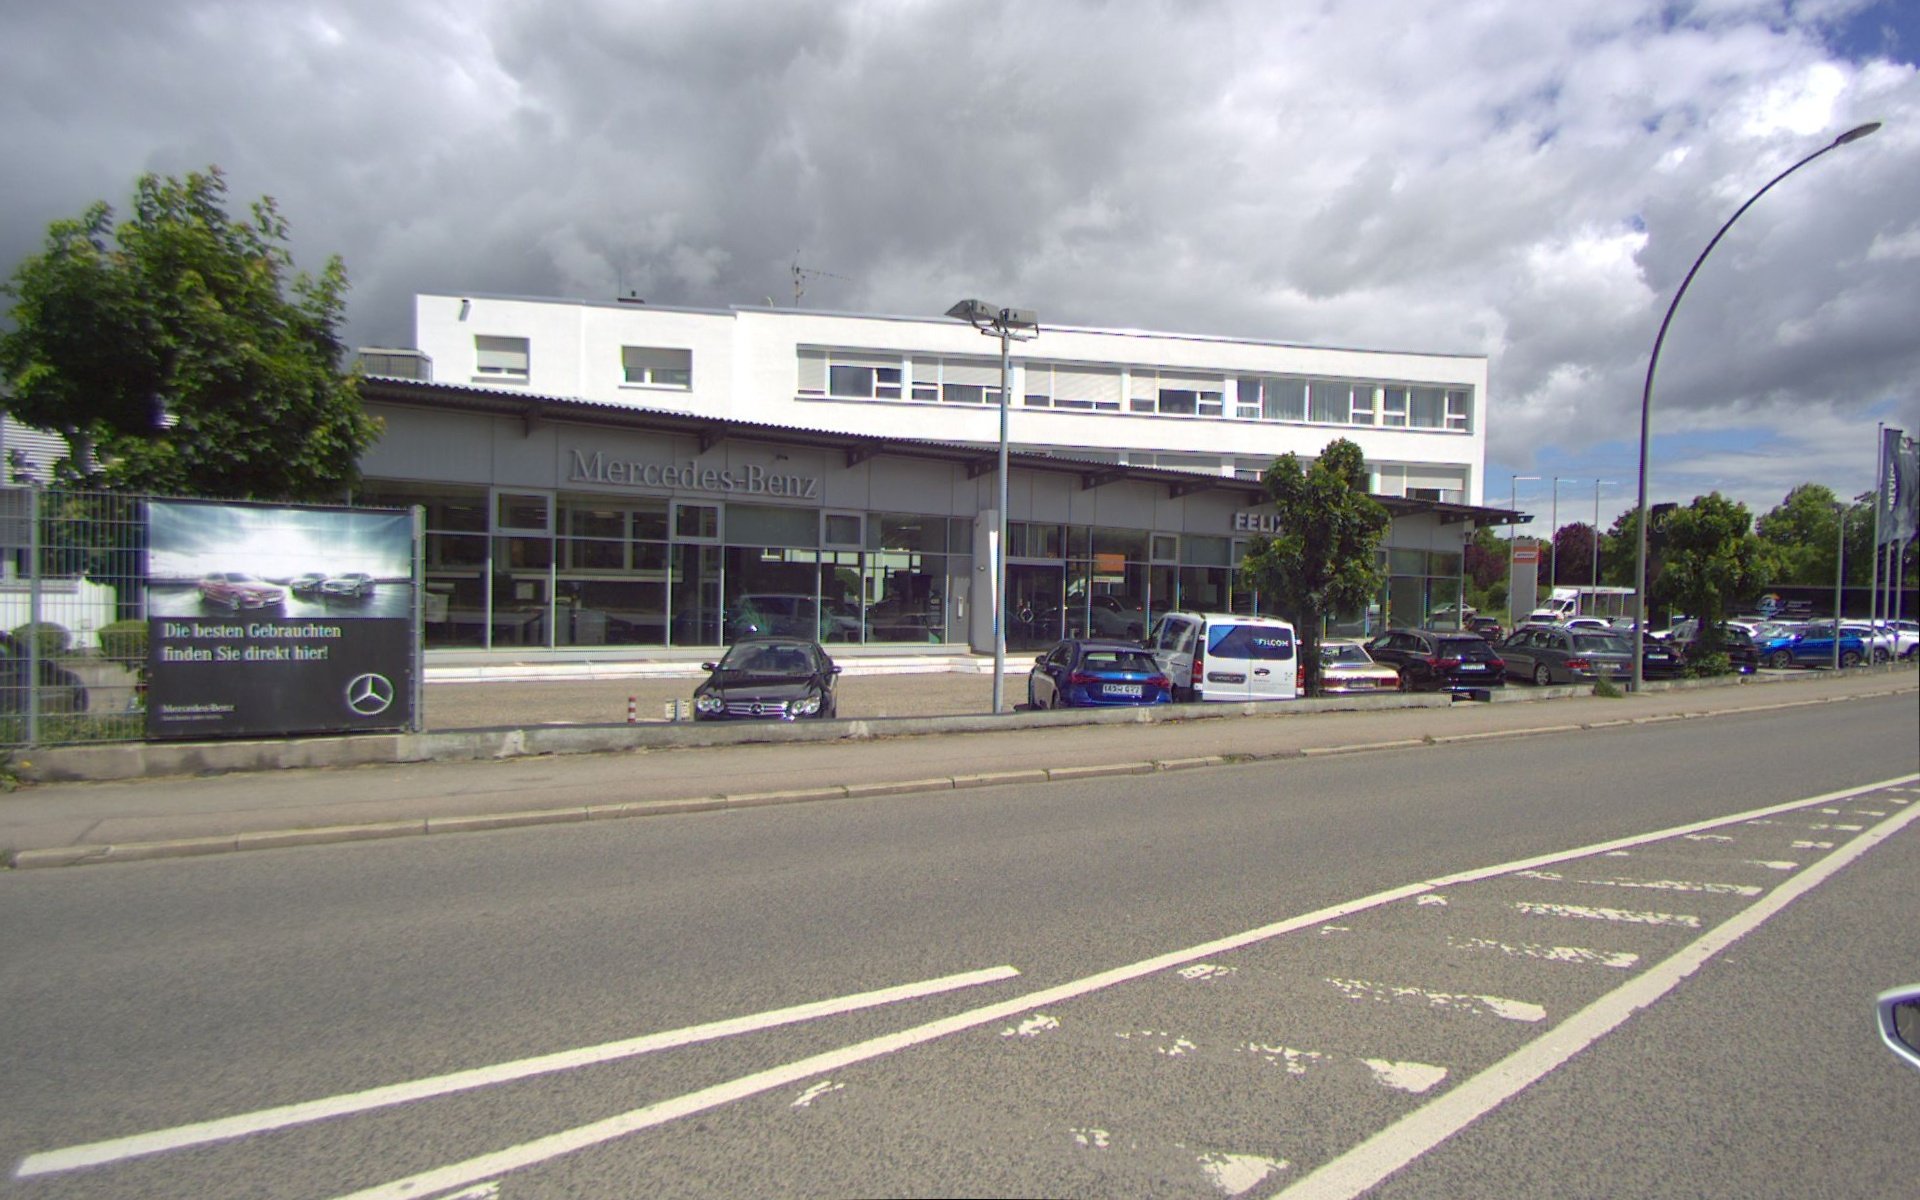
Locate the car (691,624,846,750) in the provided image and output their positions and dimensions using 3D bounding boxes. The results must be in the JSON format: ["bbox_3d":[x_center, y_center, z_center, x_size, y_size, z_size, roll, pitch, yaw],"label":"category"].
[{"bbox_3d":[-2.571,1.123,14.365,1.797,1.368,4.200,2,0,-6],"label":"car"}]

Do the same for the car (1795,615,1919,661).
[{"bbox_3d":[39.481,1.650,43.833,4.231,1.786,1.999,2,1,23],"label":"car"}]

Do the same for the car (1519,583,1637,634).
[{"bbox_3d":[44.996,0.624,73.123,8.066,3.380,3.192,2,1,-24],"label":"car"}]

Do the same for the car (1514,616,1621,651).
[{"bbox_3d":[29.338,1.598,48.581,3.922,1.474,1.999,2,0,-2],"label":"car"}]

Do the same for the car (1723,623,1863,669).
[{"bbox_3d":[31.096,1.713,37.560,3.922,1.495,1.630,2,1,-2],"label":"car"}]

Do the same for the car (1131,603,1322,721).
[{"bbox_3d":[4.472,0.964,17.534,2.131,1.723,3.986,2,0,-2],"label":"car"}]

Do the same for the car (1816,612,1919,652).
[{"bbox_3d":[44.600,1.540,48.702,4.231,1.786,1.999,2,1,23],"label":"car"}]

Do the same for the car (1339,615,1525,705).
[{"bbox_3d":[10.140,1.220,21.981,1.942,1.623,4.204,2,0,-2],"label":"car"}]

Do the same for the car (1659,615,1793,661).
[{"bbox_3d":[31.041,1.509,40.797,3.922,1.653,1.999,2,0,-2],"label":"car"}]

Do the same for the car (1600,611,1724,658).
[{"bbox_3d":[30.353,1.472,43.519,3.922,1.855,1.999,2,1,-2],"label":"car"}]

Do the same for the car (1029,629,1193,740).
[{"bbox_3d":[2.303,1.272,16.464,1.899,1.368,4.204,2,0,-2],"label":"car"}]

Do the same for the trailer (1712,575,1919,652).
[{"bbox_3d":[49.399,0.788,57.937,9.600,4.148,2.814,-1,-1,38],"label":"trailer"}]

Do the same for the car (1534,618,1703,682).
[{"bbox_3d":[17.416,1.270,26.844,1.627,1.420,4.204,2,0,-2],"label":"car"}]

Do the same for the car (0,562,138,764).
[{"bbox_3d":[-9.546,0.488,9.090,2.143,1.723,4.180,2,0,-23],"label":"car"}]

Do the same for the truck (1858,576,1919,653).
[{"bbox_3d":[53.217,0.799,54.859,6.045,4.148,2.813,-1,-1,39],"label":"truck"}]

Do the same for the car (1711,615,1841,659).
[{"bbox_3d":[34.942,1.565,43.081,3.922,1.675,1.999,2,0,-2],"label":"car"}]

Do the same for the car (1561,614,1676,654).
[{"bbox_3d":[30.161,1.544,46.101,3.922,1.666,1.999,2,0,-2],"label":"car"}]

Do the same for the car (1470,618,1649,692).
[{"bbox_3d":[14.516,1.267,24.624,1.760,1.499,4.204,2,0,-2],"label":"car"}]
